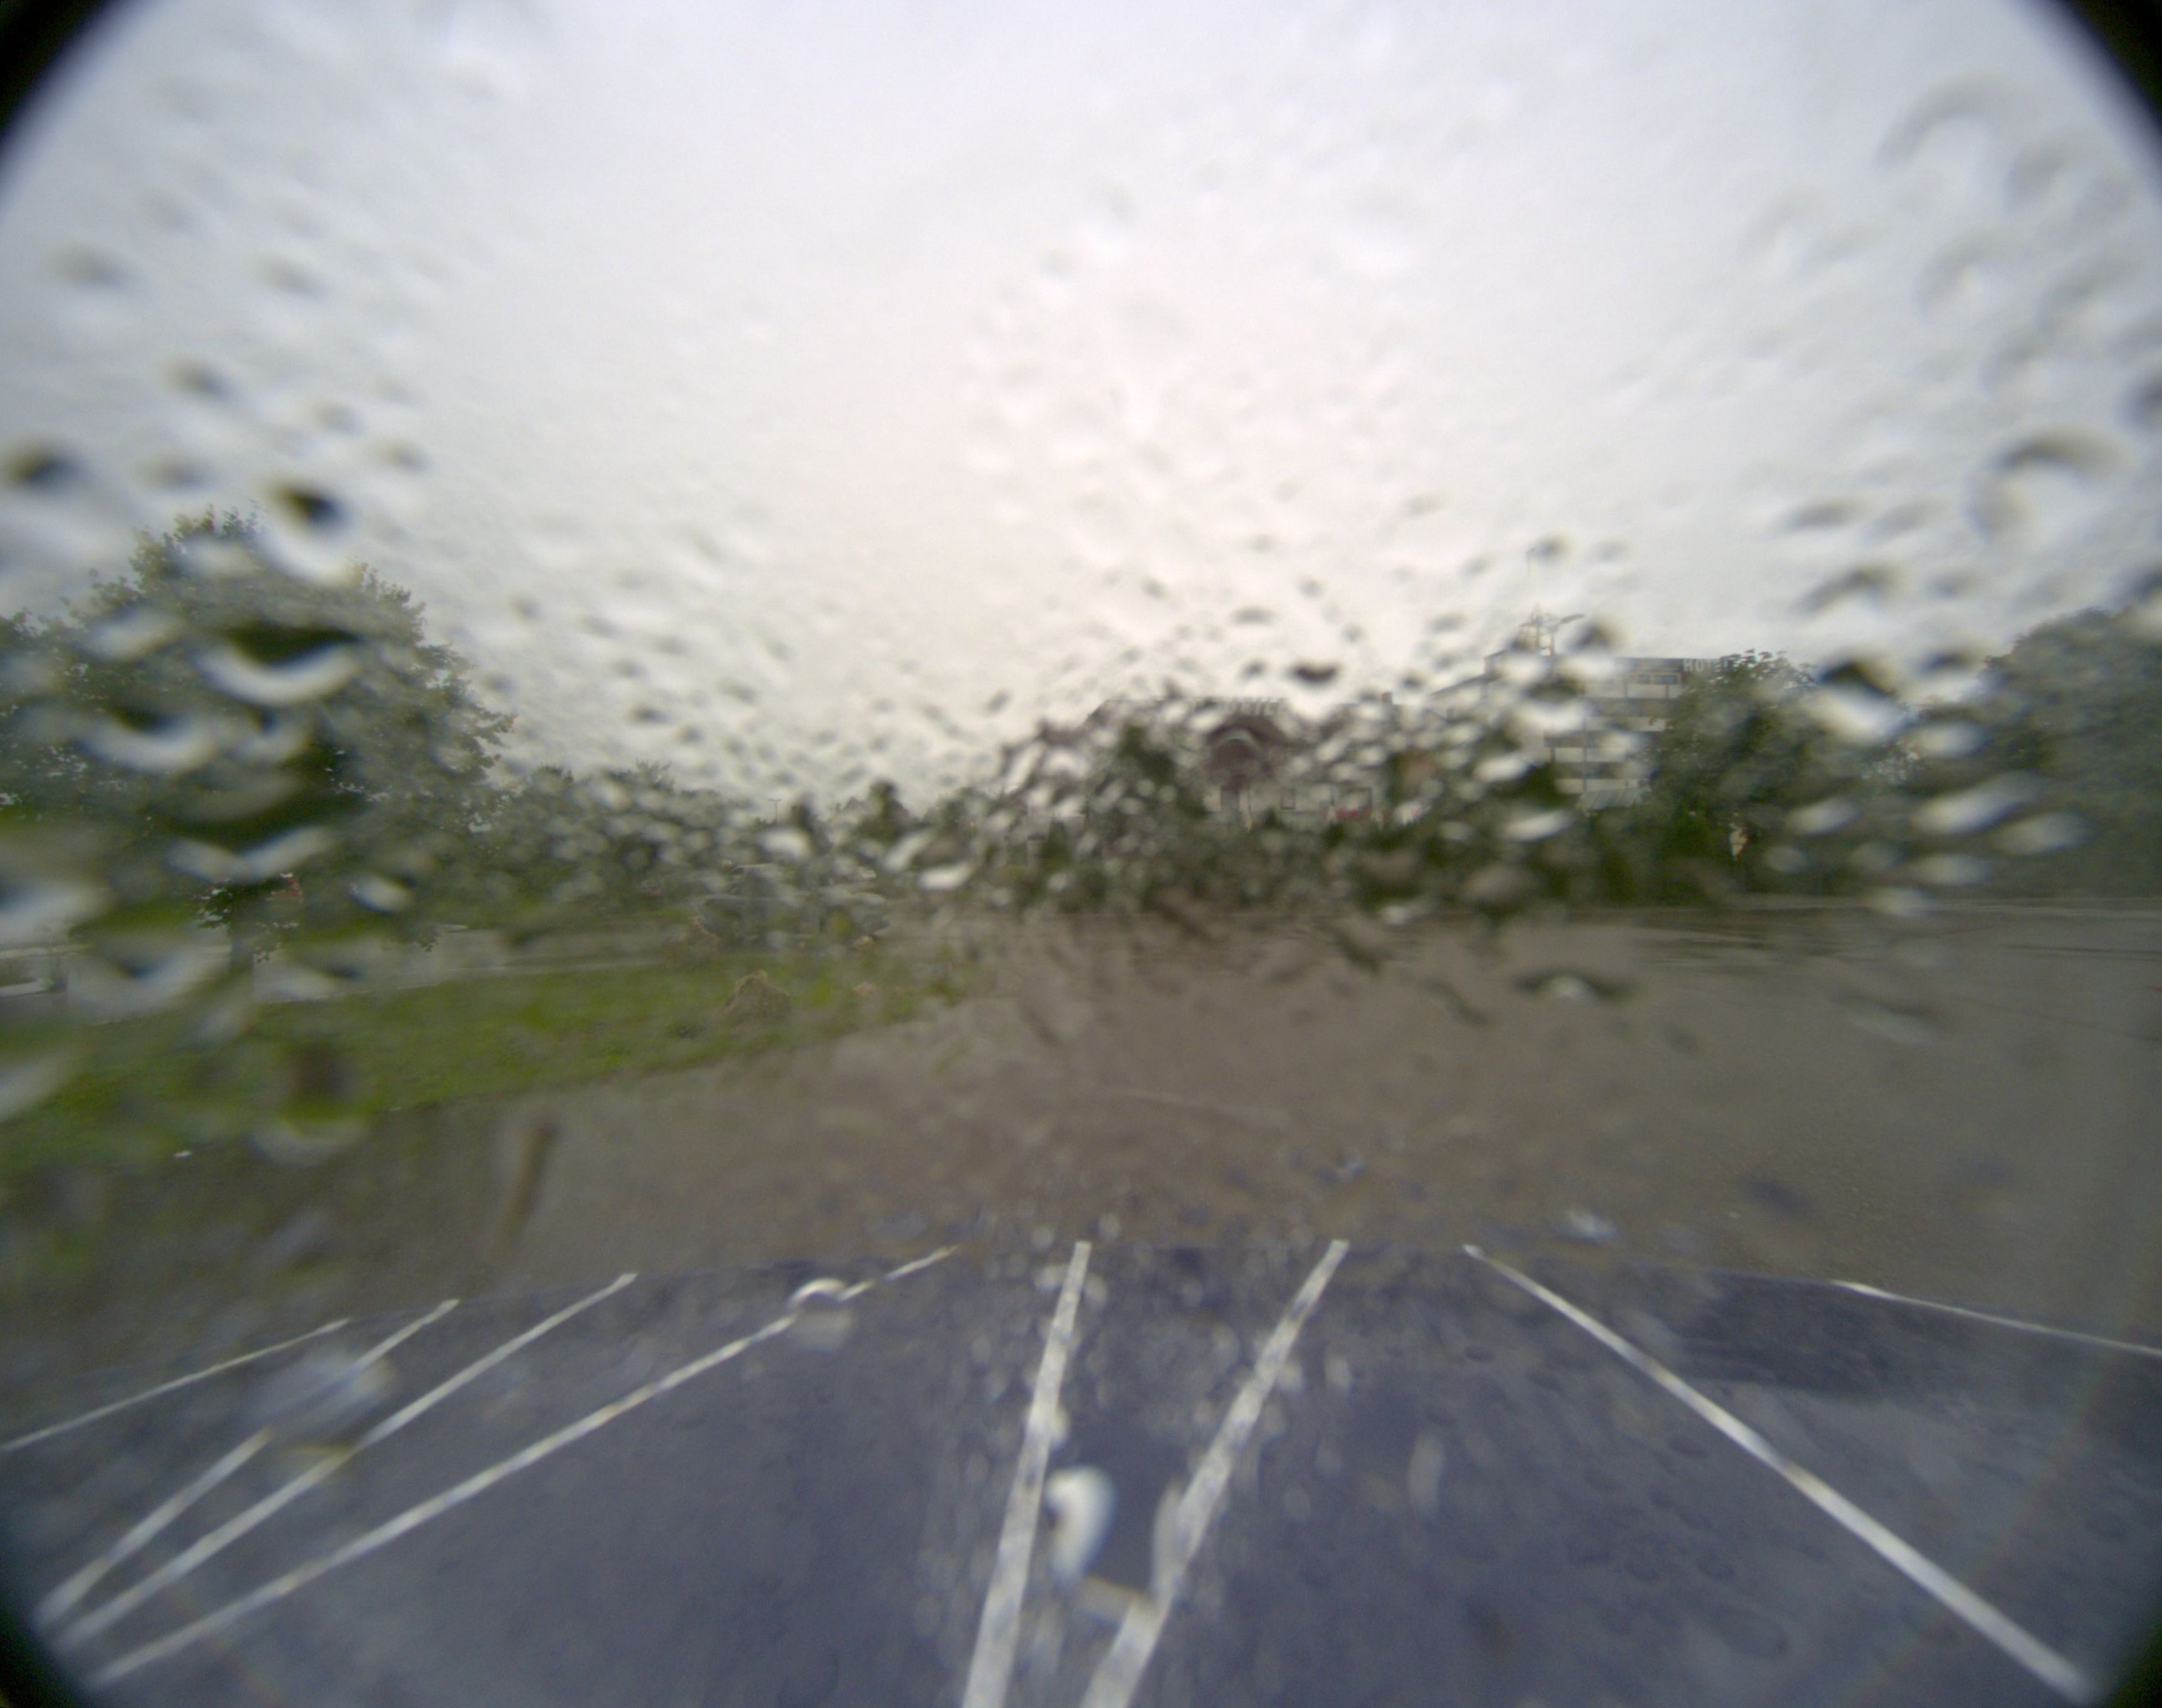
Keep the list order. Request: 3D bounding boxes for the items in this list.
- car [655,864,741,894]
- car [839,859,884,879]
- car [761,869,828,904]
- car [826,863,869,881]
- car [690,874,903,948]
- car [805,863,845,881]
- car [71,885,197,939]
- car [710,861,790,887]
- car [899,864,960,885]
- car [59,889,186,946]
[{"bbox_3d":[-25.113,1.636,49.970,4.609,1.711,1.999,-3,0,-7],"label":"car"},{"bbox_3d":[-21.385,1.462,74.115,3.989,1.718,1.994,-2,0,32],"label":"car"},{"bbox_3d":[-14.051,1.562,37.523,1.705,1.417,4.359,-4,1,-2],"label":"car"},{"bbox_3d":[-22.168,1.670,71.999,3.878,1.560,1.753,-2,0,33],"label":"car"},{"bbox_3d":[-7.006,1.391,18.995,4.495,1.565,2.000,-2,1,5],"label":"car"},{"bbox_3d":[-23.670,1.689,70.346,3.716,1.540,1.670,-2,0,38],"label":"car"},{"bbox_3d":[-40.334,2.417,32.502,2.003,2.002,3.991,-3,0,-30],"label":"car"},{"bbox_3d":[-25.989,1.551,59.822,5.377,1.711,1.999,-3,0,-7],"label":"car"},{"bbox_3d":[-11.416,1.520,57.396,4.360,1.416,1.849,-2,0,-9],"label":"car"},{"bbox_3d":[-40.623,2.615,32.356,2.003,2.002,3.989,0,1,-30],"label":"car"}]
